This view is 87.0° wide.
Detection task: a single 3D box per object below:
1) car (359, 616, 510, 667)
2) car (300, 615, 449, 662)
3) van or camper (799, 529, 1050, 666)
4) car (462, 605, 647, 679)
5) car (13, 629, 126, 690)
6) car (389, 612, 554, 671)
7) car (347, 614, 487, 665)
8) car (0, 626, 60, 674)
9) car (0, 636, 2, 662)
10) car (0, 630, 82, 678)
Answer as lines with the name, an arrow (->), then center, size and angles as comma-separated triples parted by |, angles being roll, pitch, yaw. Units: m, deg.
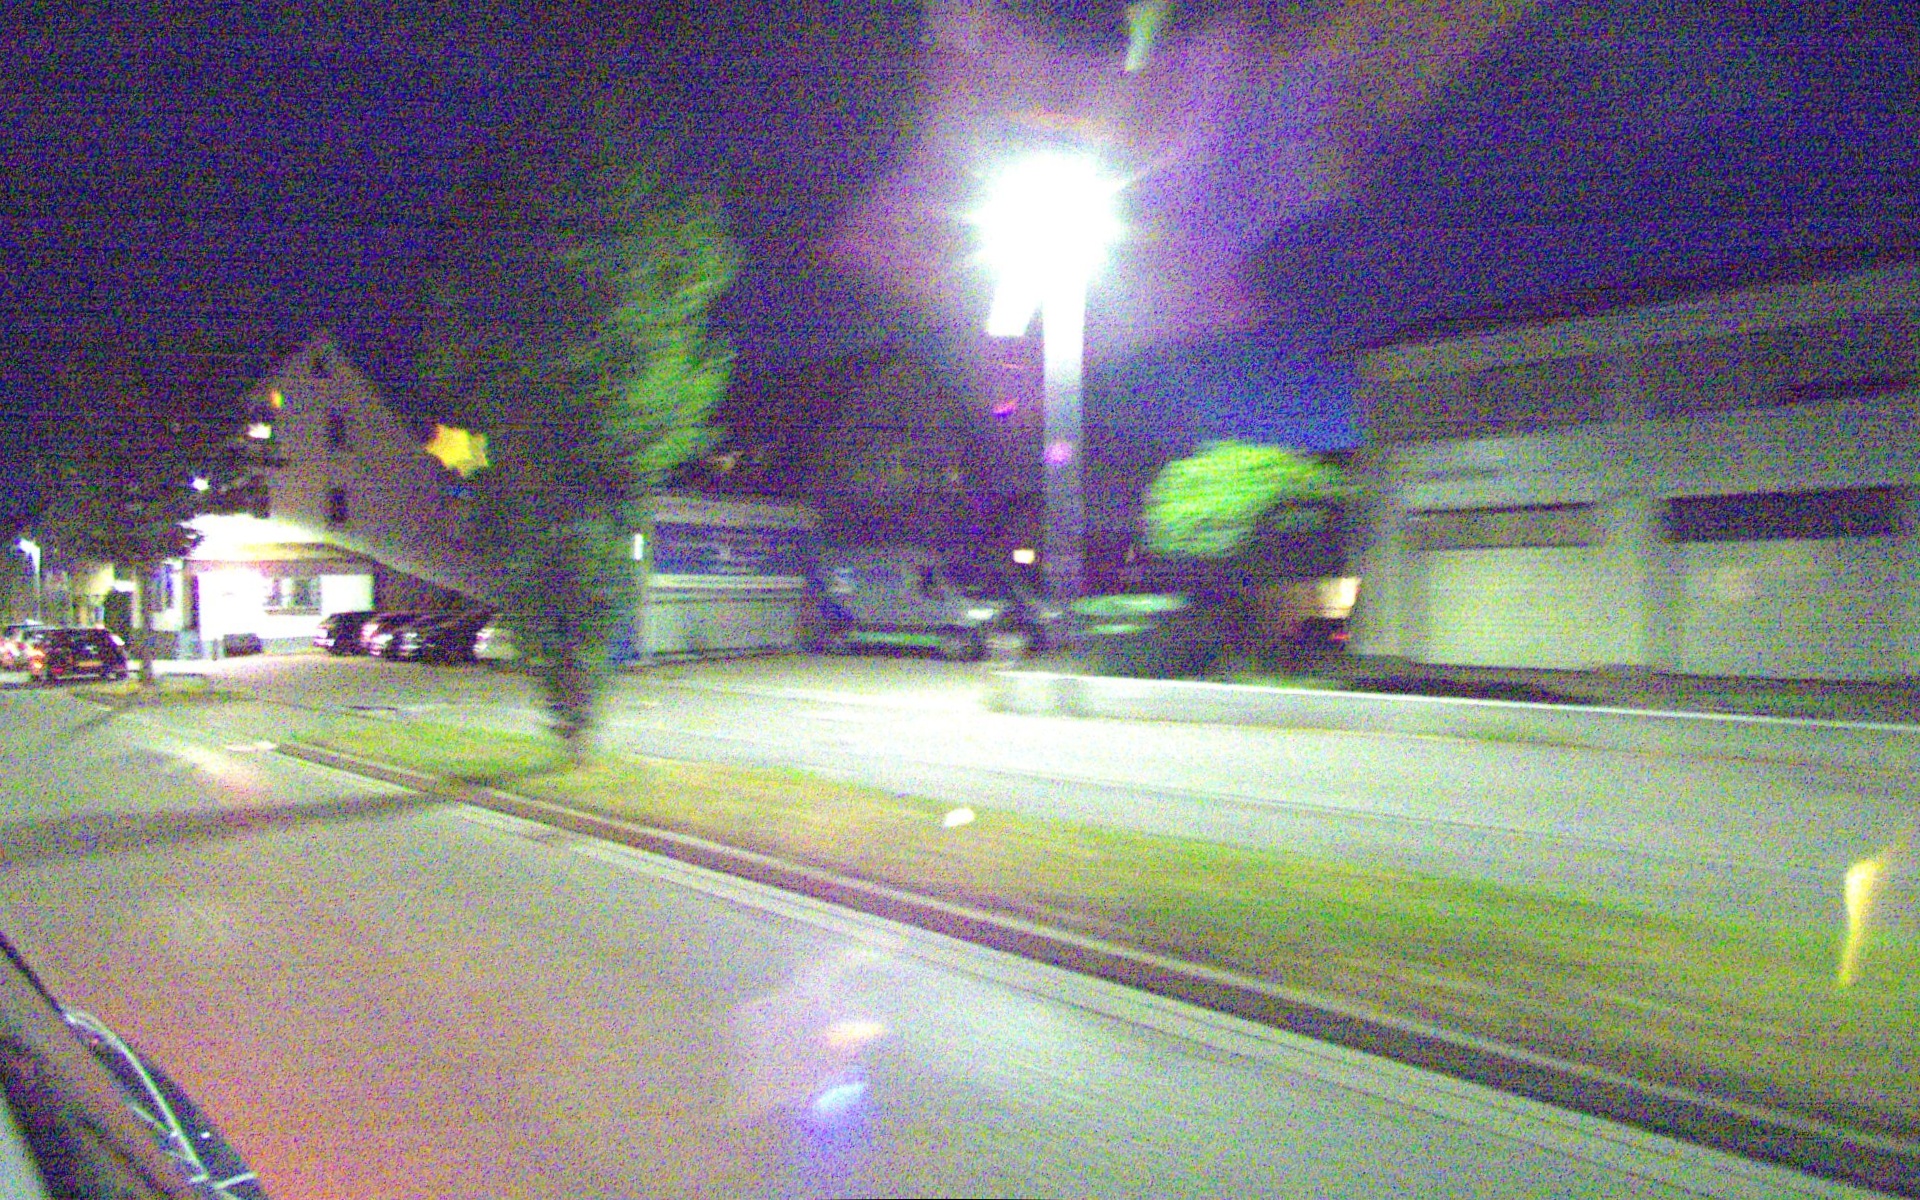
car -> -17.154, 1.306, 33.166 | 2.000, 1.475, 3.944 | -1, 0, 42
car -> -21.243, 1.354, 36.872 | 2.024, 1.573, 4.276 | -1, -1, 34
van or camper -> -0.964, -0.010, 23.255 | 5.926, 2.768, 2.053 | -1, 0, 41
car -> -10.253, 1.090, 25.827 | 1.943, 1.716, 3.953 | -1, -3, 34
car -> -23.968, 1.542, 27.198 | 4.006, 1.480, 1.731 | -2, -1, 41
car -> -14.834, 1.260, 30.867 | 2.000, 1.674, 4.071 | -2, -3, 42
car -> -19.018, 1.335, 35.536 | 2.001, 1.630, 3.942 | -2, -1, 45
car -> -35.466, 1.845, 37.986 | 4.468, 1.649, 1.909 | -2, 0, 41
car -> -51.067, 2.427, 51.995 | 4.473, 1.559, 2.095 | 0, 3, 40
car -> -31.372, 1.800, 34.410 | 3.964, 1.480, 1.752 | -2, -1, 41
